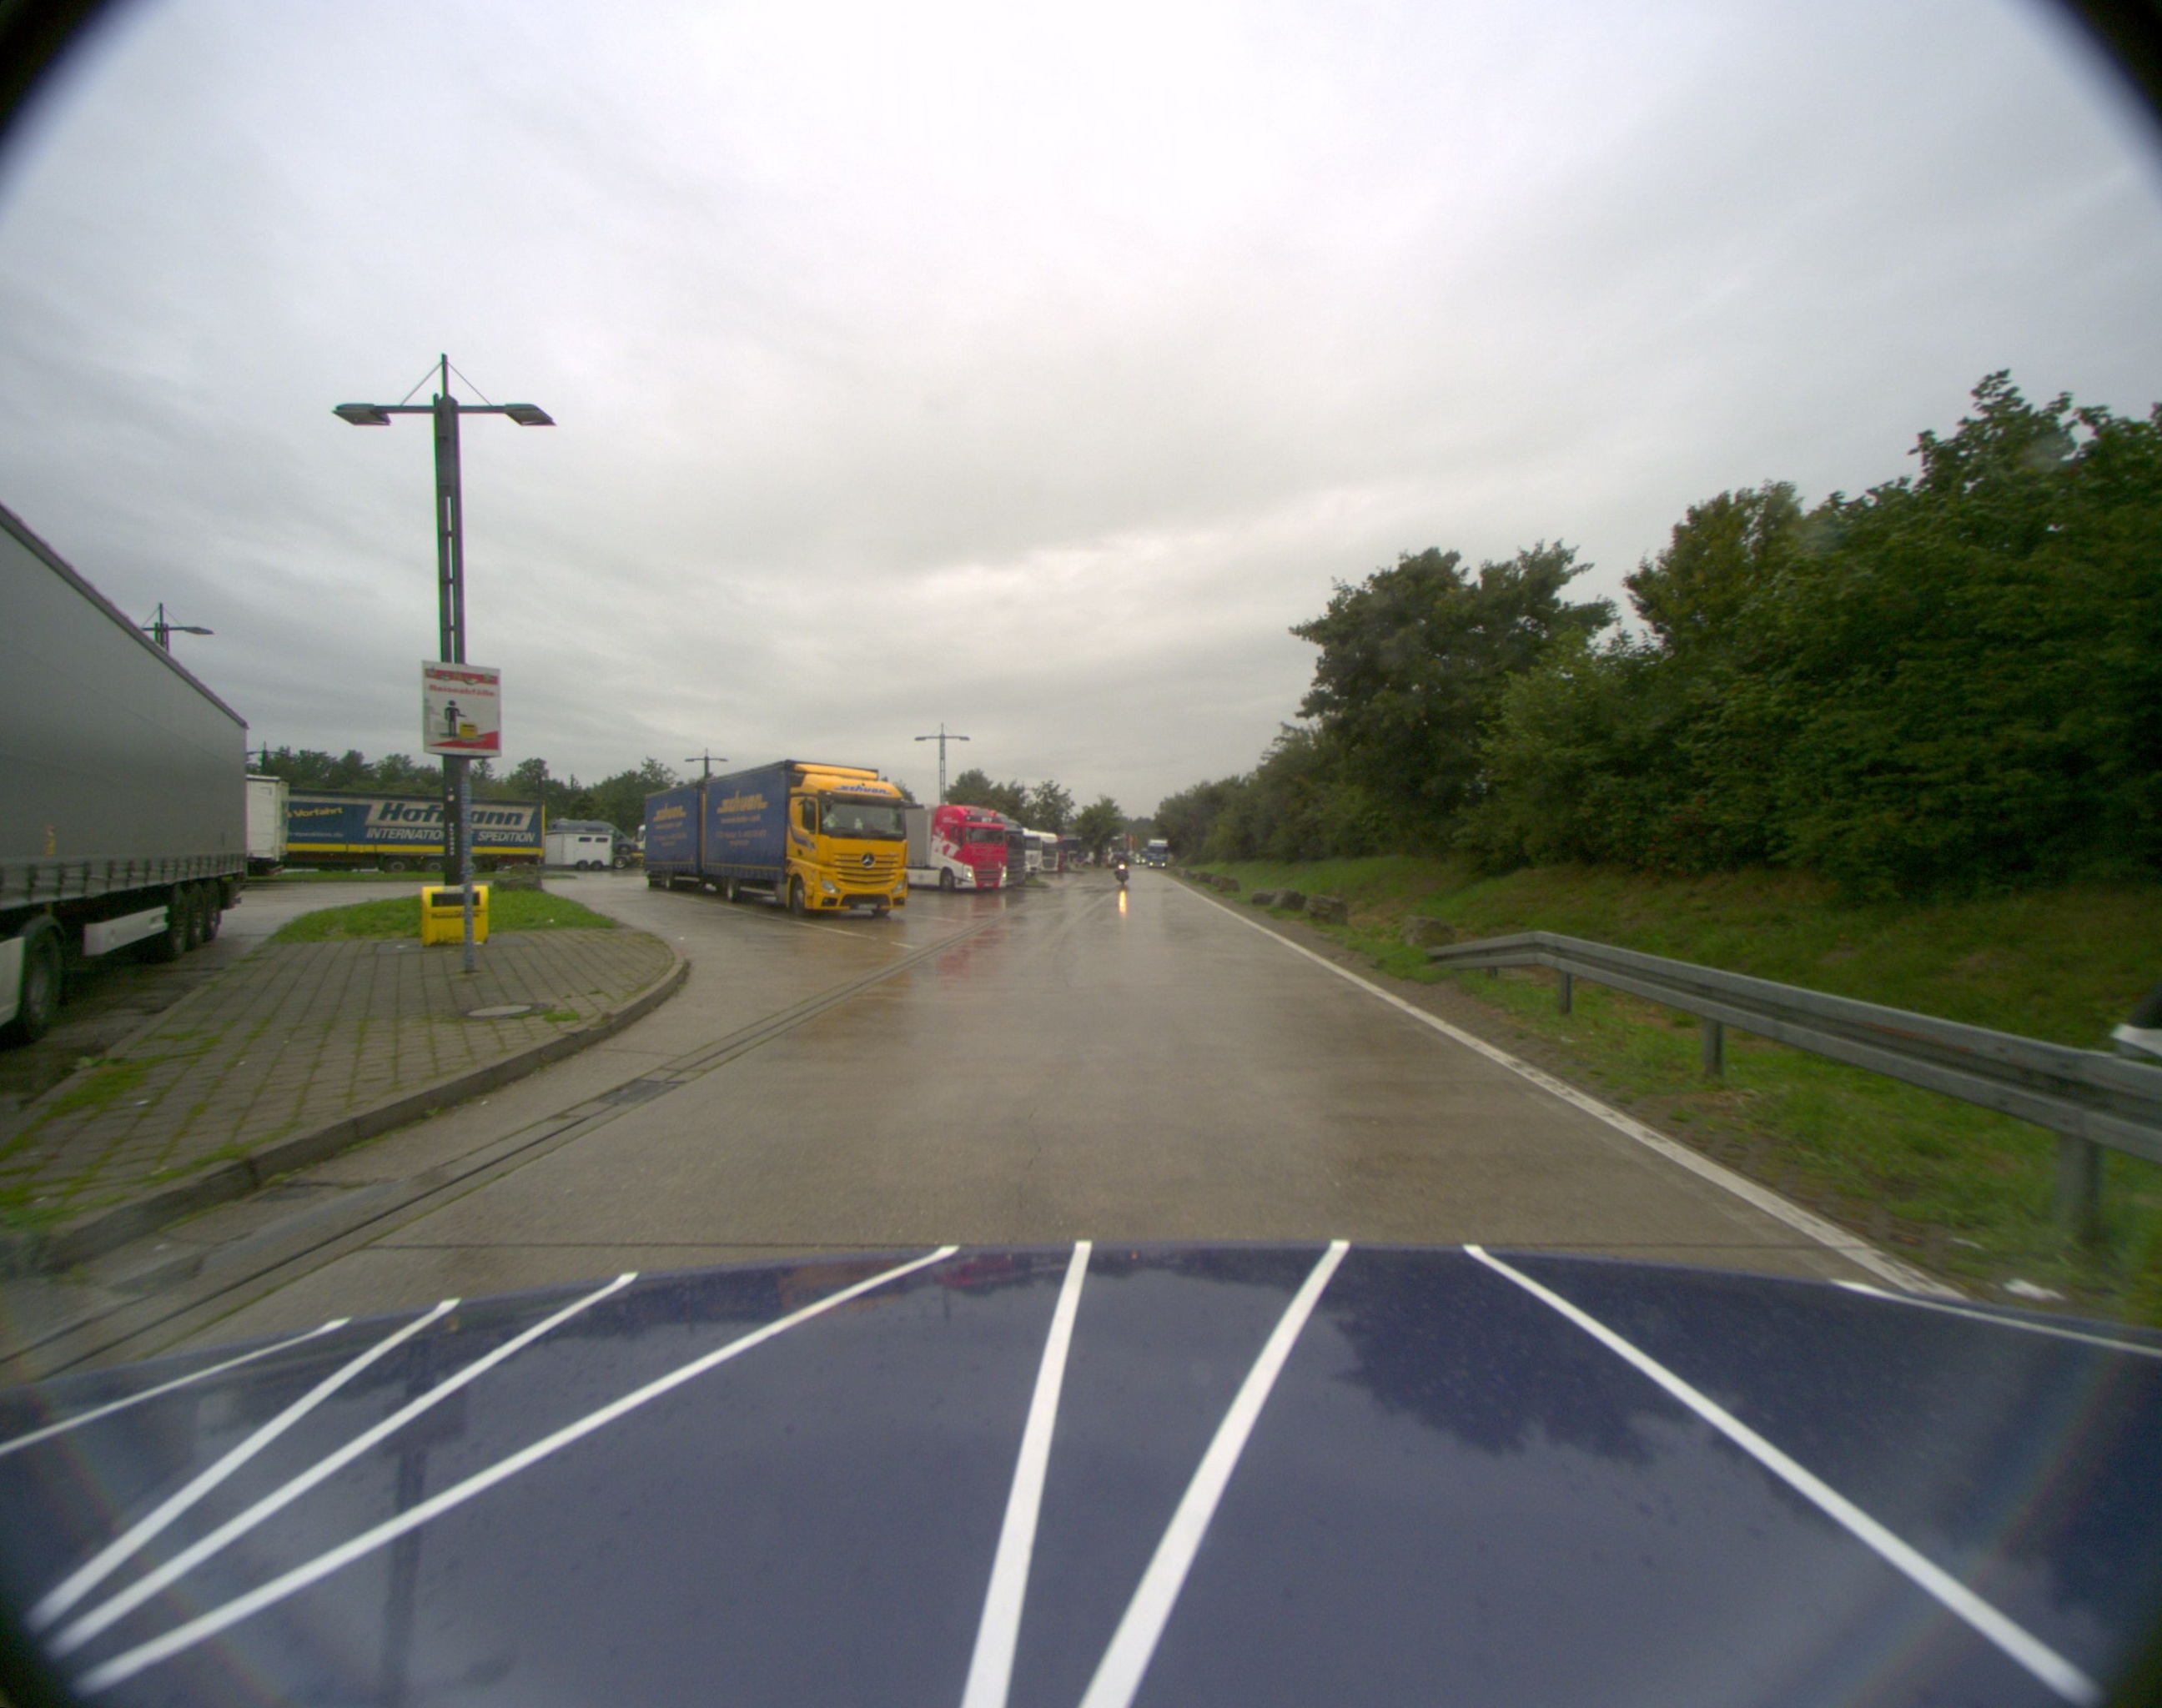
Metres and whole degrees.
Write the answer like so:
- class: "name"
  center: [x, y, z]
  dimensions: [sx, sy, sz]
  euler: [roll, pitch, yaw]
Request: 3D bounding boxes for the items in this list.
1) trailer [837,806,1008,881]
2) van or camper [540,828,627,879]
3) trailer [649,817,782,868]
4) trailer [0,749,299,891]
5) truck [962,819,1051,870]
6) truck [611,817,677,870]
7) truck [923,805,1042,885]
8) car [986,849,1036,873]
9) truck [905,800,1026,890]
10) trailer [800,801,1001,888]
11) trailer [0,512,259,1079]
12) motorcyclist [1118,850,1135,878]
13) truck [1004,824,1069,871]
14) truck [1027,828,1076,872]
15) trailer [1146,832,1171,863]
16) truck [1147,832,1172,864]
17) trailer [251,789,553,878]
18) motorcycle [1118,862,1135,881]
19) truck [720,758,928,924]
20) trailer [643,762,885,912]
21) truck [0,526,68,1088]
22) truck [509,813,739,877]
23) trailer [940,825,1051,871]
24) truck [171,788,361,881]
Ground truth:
- class: "trailer"
  center: [-9.870, -0.609, 45.118]
  dimensions: [2.882, 3.896, 13.895]
  euler: [0, 1, -44]
- class: "van or camper"
  center: [-34.264, -0.054, 52.384]
  dimensions: [4.616, 3.219, 2.264]
  euler: [-3, 1, -41]
- class: "trailer"
  center: [-33.332, -0.980, 69.674]
  dimensions: [10.483, 4.361, 3.088]
  euler: [-1, 1, -42]
- class: "trailer"
  center: [-34.105, -0.940, 23.020]
  dimensions: [14.192, 4.233, 2.661]
  euler: [-3, 1, -42]
- class: "truck"
  center: [-6.405, -0.801, 64.701]
  dimensions: [3.253, 4.067, 7.915]
  euler: [0, 1, -44]
- class: "truck"
  center: [-37.749, -0.904, 65.659]
  dimensions: [4.406, 4.361, 3.088]
  euler: [-1, 1, -42]
- class: "truck"
  center: [-5.379, -0.473, 40.540]
  dimensions: [2.906, 3.896, 6.536]
  euler: [0, 1, -44]
- class: "car"
  center: [-5.430, 0.519, 58.724]
  dimensions: [1.852, 1.847, 3.988]
  euler: [-1, 1, -42]
- class: "truck"
  center: [-5.455, -0.402, 35.592]
  dimensions: [3.253, 3.896, 5.007]
  euler: [0, 1, -44]
- class: "trailer"
  center: [-10.155, -0.522, 40.412]
  dimensions: [3.253, 3.896, 14.787]
  euler: [0, 1, -44]
- class: "trailer"
  center: [-12.379, -0.485, 8.614]
  dimensions: [2.850, 3.896, 13.914]
  euler: [0, 0, -42]
- class: "motorcyclist"
  center: [2.556, 0.557, 42.559]
  dimensions: [0.877, 1.558, 1.374]
  euler: [1, 0, 5]
- class: "truck"
  center: [-4.298, -0.631, 73.459]
  dimensions: [3.253, 4.361, 5.797]
  euler: [-1, 1, -44]
- class: "truck"
  center: [-3.067, -0.419, 78.928]
  dimensions: [2.612, 4.361, 4.615]
  euler: [-1, 1, -44]
- class: "trailer"
  center: [11.225, -0.913, 111.487]
  dimensions: [3.242, 4.361, 13.769]
  euler: [0, 0, 4]
- class: "truck"
  center: [10.743, -0.810, 104.949]
  dimensions: [3.242, 4.361, 6.315]
  euler: [0, 1, 4]
- class: "trailer"
  center: [-31.856, -1.057, 36.406]
  dimensions: [10.408, 3.733, 2.064]
  euler: [-3, 1, -44]
- class: "motorcycle"
  center: [2.559, 0.976, 42.650]
  dimensions: [0.878, 1.016, 2.354]
  euler: [1, -1, 4]
- class: "truck"
  center: [-7.719, -0.342, 21.918]
  dimensions: [2.846, 3.896, 8.107]
  euler: [0, 1, -40]
- class: "trailer"
  center: [-12.094, -0.529, 26.948]
  dimensions: [2.875, 3.896, 16.585]
  euler: [0, 0, -41]
- class: "truck"
  center: [-7.704, -0.331, 3.397]
  dimensions: [2.837, 3.890, 5.395]
  euler: [0, 0, -42]
- class: "truck"
  center: [-34.258, -0.659, 57.897]
  dimensions: [14.598, 4.361, 3.468]
  euler: [0, 1, -41]
- class: "trailer"
  center: [-9.138, -0.549, 78.439]
  dimensions: [3.253, 4.361, 14.354]
  euler: [-1, 1, -44]
- class: "truck"
  center: [-35.248, -0.869, 33.165]
  dimensions: [5.350, 3.733, 2.064]
  euler: [-3, 1, -44]
